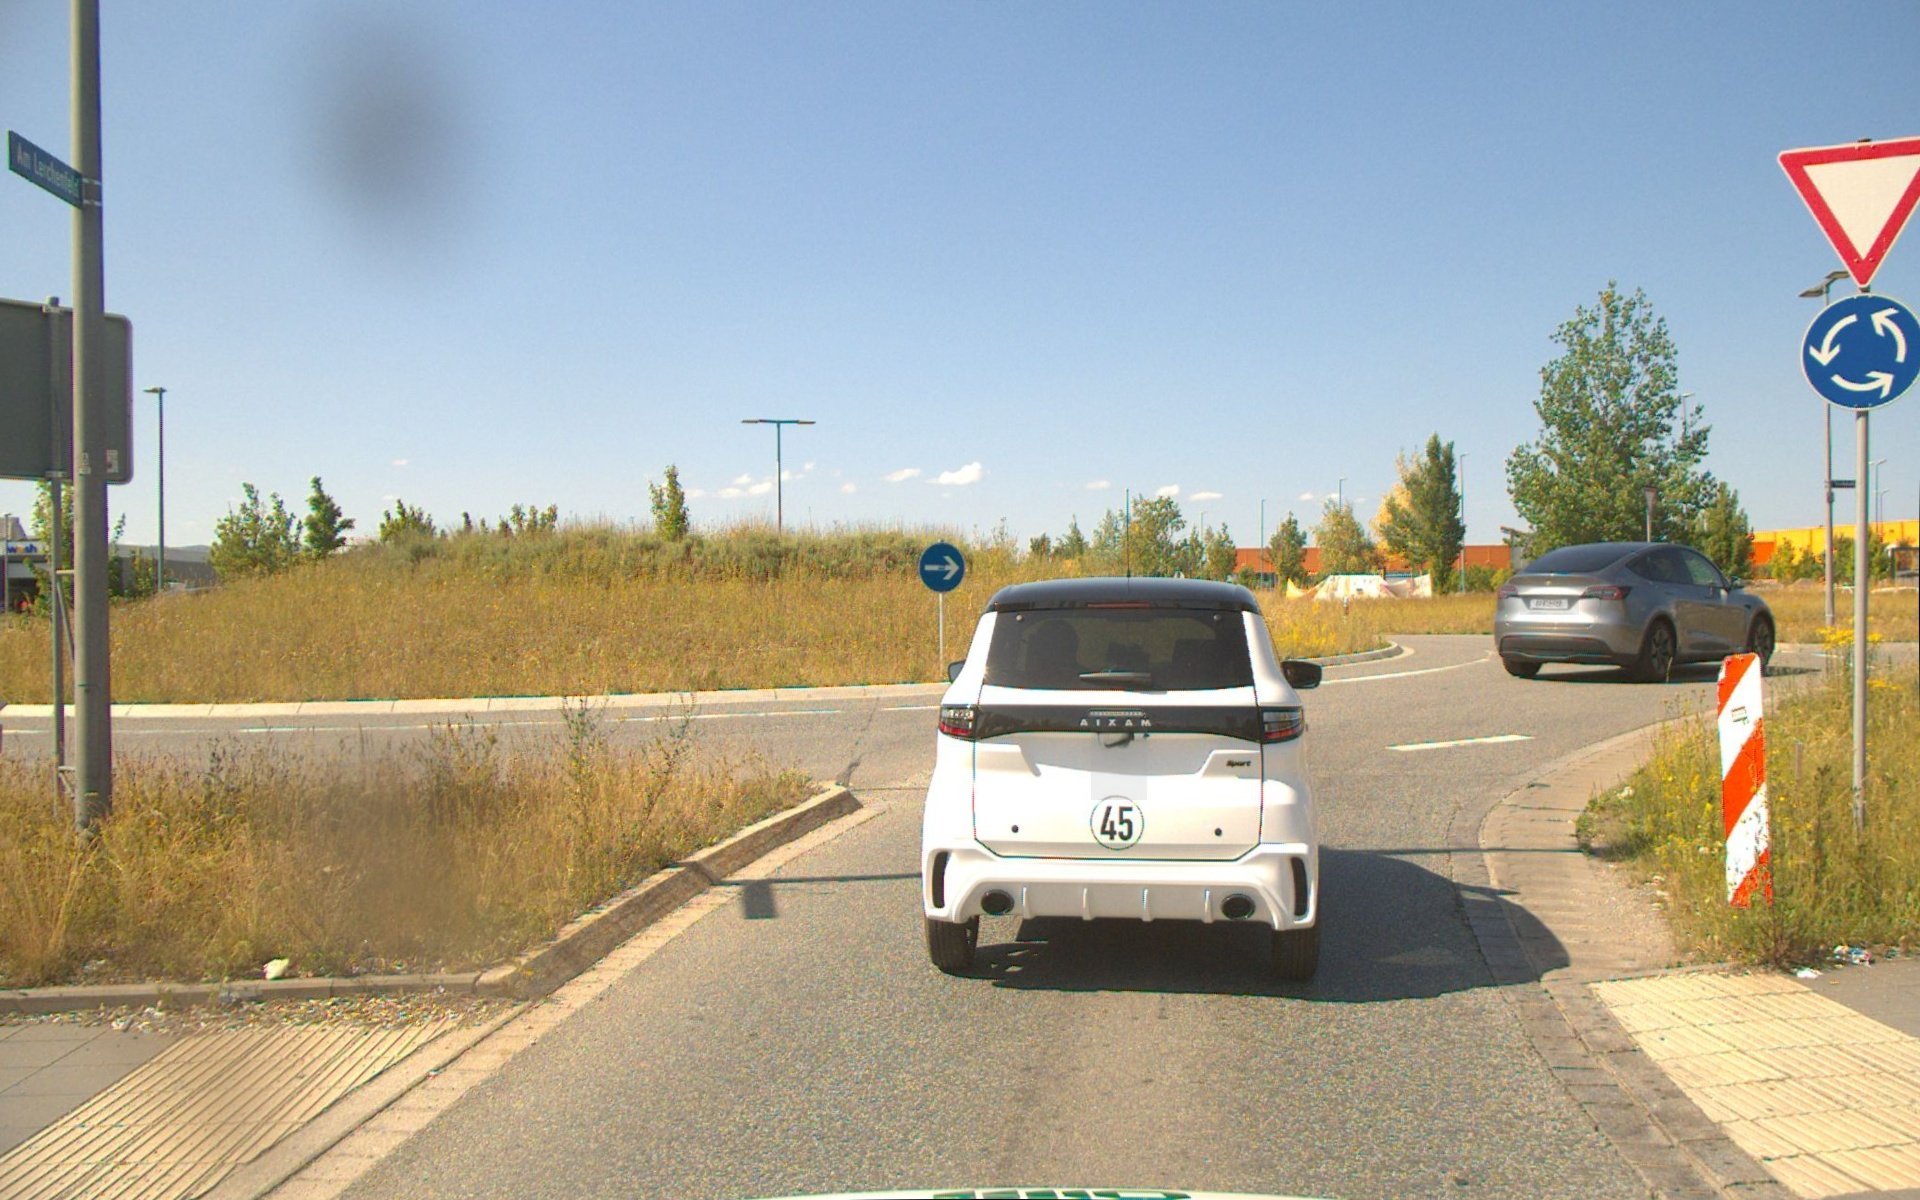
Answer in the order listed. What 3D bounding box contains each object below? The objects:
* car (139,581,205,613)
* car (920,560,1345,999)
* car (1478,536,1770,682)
[{"bbox_3d":[-44.830,-0.151,94.165,1.954,1.762,3.998,-1,0,-3],"label":"car"},{"bbox_3d":[0.850,0.580,7.453,1.477,1.465,3.354,0,2,9],"label":"car"},{"bbox_3d":[8.269,0.072,20.429,4.135,1.612,1.802,-1,0,-44],"label":"car"}]
